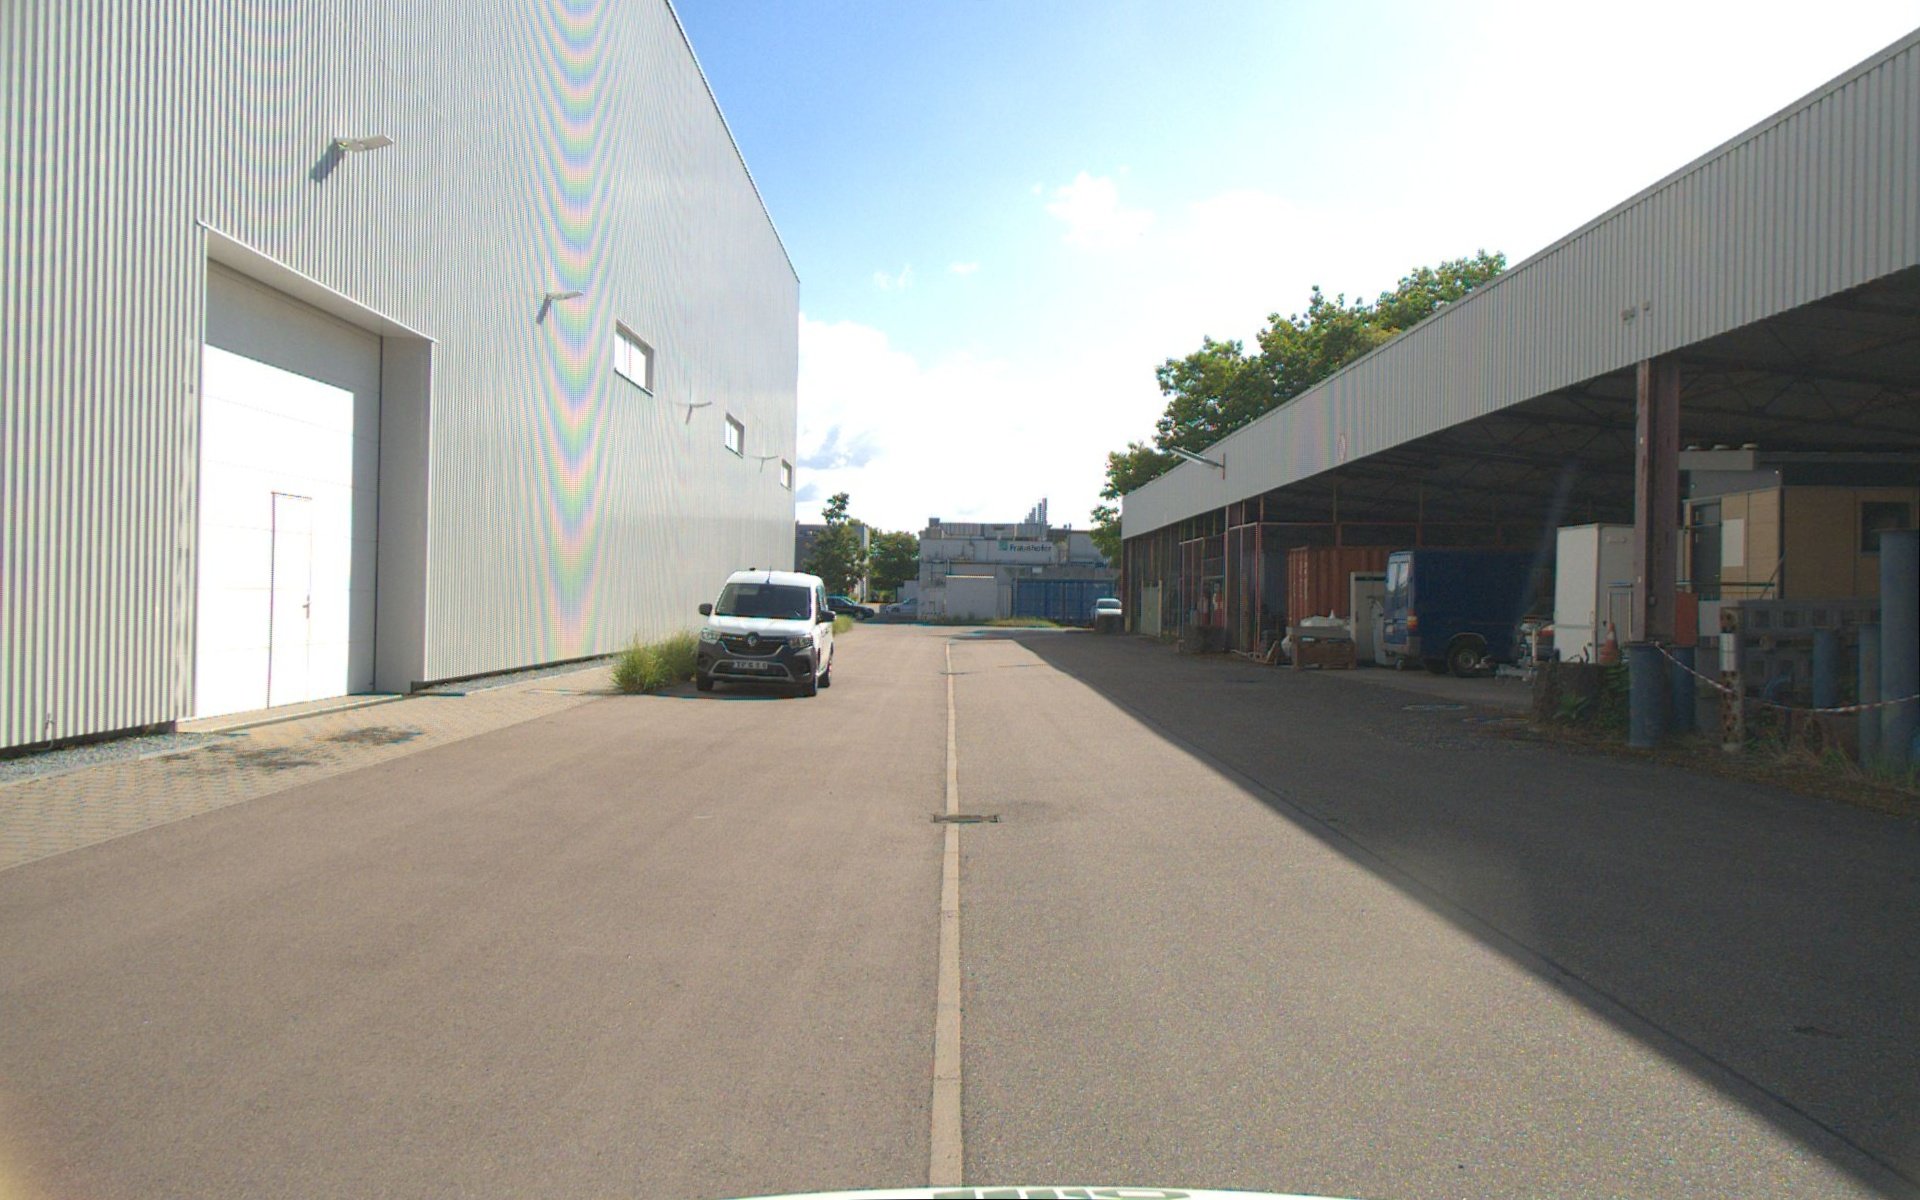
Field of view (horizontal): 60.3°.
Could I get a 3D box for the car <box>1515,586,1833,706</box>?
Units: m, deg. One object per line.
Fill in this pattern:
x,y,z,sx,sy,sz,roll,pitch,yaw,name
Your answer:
10.478,0.686,24.457,3.955,1.551,1.684,2,-2,0,car

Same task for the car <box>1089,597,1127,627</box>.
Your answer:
8.516,0.690,95.426,1.921,1.592,4.060,2,1,1,car

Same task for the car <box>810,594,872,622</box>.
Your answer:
-7.743,0.523,107.664,3.906,1.626,1.741,2,-2,-2,car

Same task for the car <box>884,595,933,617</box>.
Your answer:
-4.207,0.481,135.583,3.906,1.626,1.847,2,-2,-2,car

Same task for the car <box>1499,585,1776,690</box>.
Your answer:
11.358,0.641,27.890,3.955,1.551,1.684,2,-2,0,car

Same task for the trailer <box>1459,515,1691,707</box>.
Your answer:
8.189,0.157,22.168,2.472,2.441,1.727,1,-1,0,trailer

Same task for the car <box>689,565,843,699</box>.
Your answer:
-2.892,0.440,25.504,1.781,1.818,4.405,2,0,0,car

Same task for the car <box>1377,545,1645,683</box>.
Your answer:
10.252,0.285,30.976,4.342,2.350,1.915,2,-2,0,car
